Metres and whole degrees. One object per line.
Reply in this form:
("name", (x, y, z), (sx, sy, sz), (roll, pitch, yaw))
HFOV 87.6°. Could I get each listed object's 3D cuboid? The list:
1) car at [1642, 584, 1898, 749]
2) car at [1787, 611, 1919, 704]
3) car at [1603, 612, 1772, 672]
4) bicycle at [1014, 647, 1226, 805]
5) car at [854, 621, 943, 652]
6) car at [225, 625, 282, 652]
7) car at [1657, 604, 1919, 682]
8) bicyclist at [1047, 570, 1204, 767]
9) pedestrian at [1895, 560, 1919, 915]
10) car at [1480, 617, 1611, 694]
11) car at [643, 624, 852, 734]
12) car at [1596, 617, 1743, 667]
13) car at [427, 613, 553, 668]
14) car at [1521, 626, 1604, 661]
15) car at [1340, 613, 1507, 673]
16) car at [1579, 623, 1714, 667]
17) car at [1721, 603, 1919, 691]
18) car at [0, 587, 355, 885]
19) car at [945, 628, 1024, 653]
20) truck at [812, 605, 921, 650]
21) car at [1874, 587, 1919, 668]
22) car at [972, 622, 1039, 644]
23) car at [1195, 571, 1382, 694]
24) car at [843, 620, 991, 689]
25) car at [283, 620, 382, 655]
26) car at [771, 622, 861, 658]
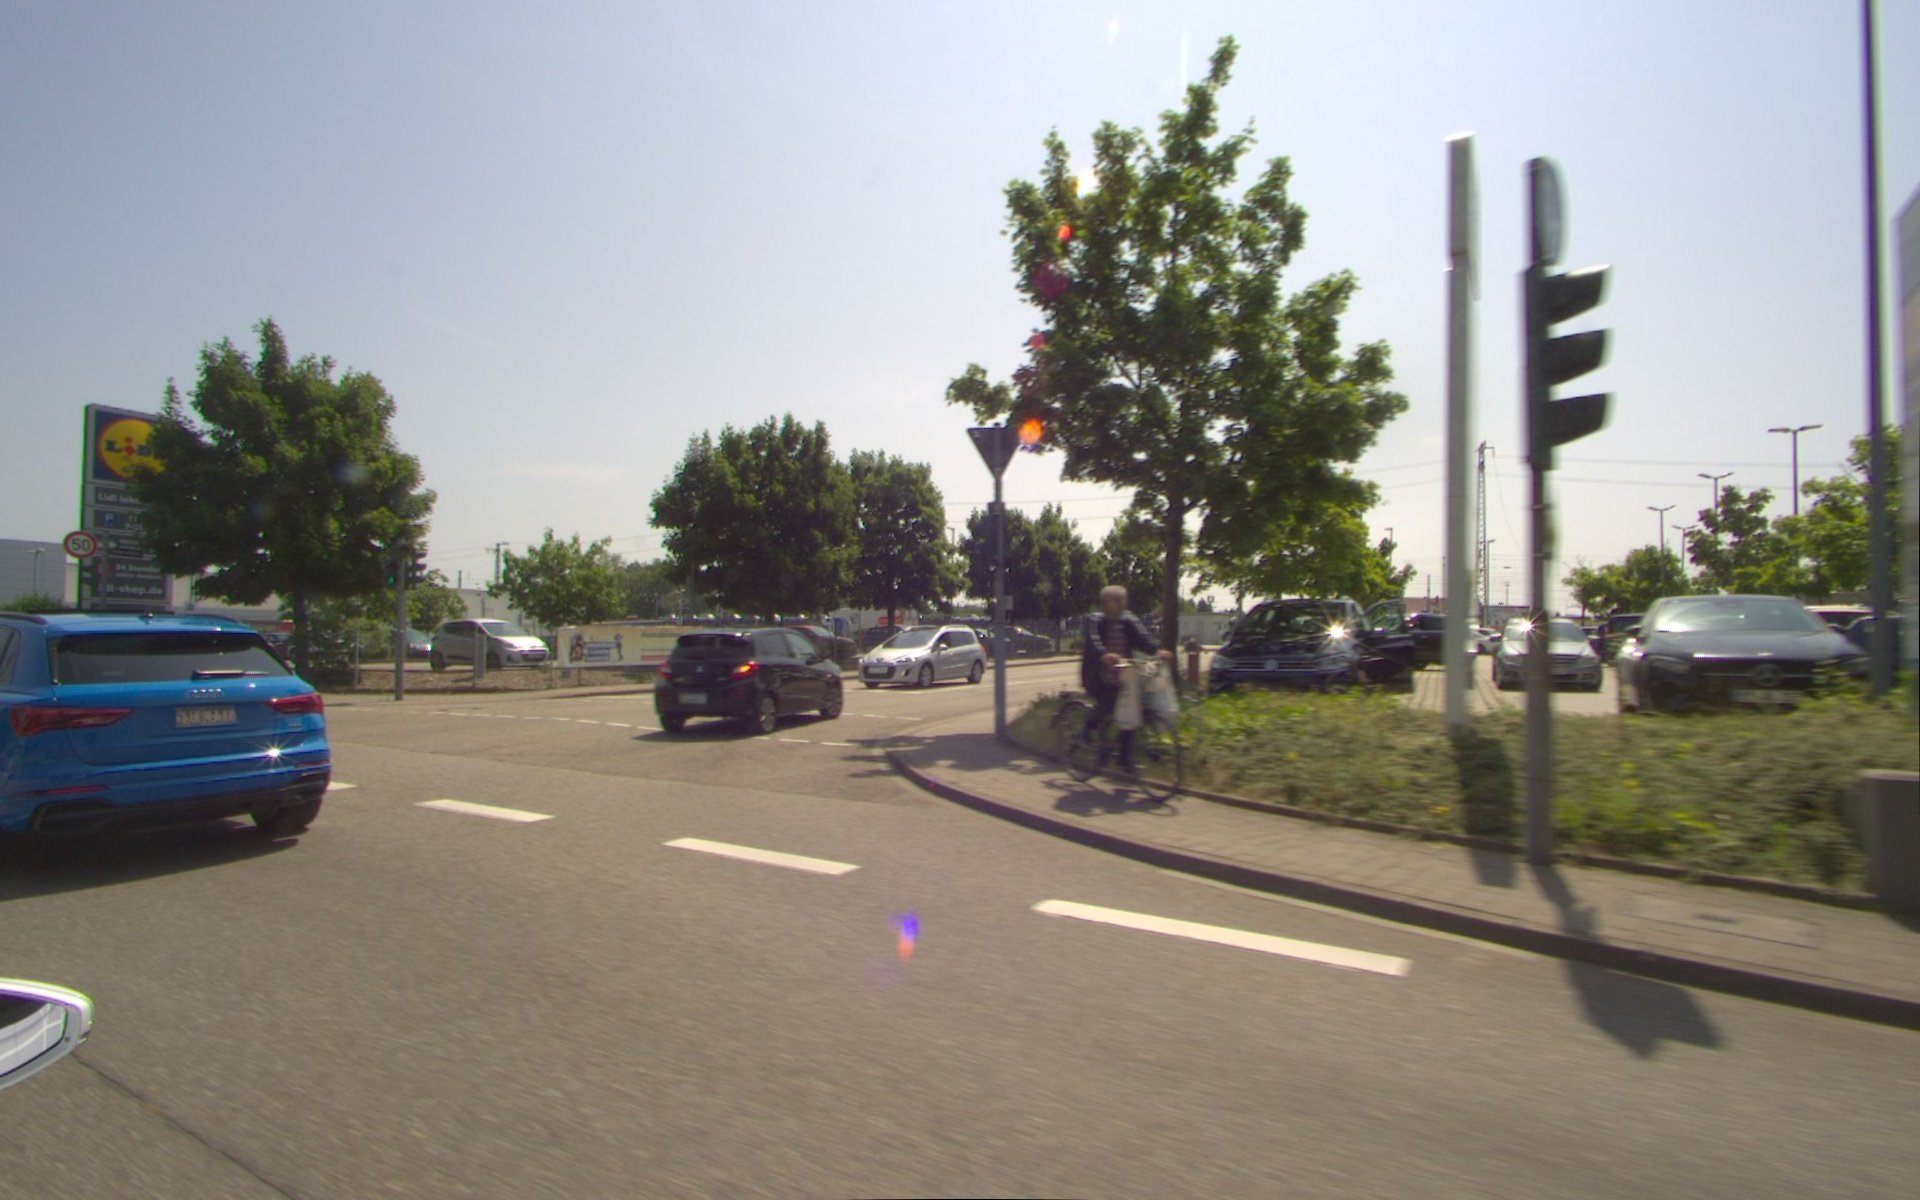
("car", (8.171, 0.600, 10.321), (1.734, 1.356, 3.859), (-1, -2, 37))
("car", (16.455, 0.948, 16.688), (1.981, 1.505, 3.961), (1, -2, -44))
("car", (23.623, 1.334, 32.654), (1.653, 1.811, 4.162), (4, -3, -36))
("bicycle", (1.258, 0.978, 8.283), (0.749, 1.146, 1.900), (3, -4, -27))
("car", (-3.057, 1.794, 49.471), (4.262, 1.468, 1.701), (-1, -1, 32))
("car", (-38.454, 2.096, 54.483), (2.910, 1.438, 1.265), (-1, -1, 26))
("car", (20.220, 1.095, 24.625), (1.979, 1.732, 4.709), (4, -5, -40))
("bicyclist", (1.332, 0.559, 8.196), (0.765, 1.482, 1.086), (2, -3, -28))
("pedestrian", (4.767, 0.618, 4.220), (0.991, 1.645, 0.827), (-2, -4, 32))
("car", (11.987, 1.086, 20.737), (1.785, 1.416, 3.991), (-1, -1, 22))
("car", (-3.017, 1.089, 14.922), (1.591, 1.419, 3.428), (0, -2, 17))
("car", (25.009, 1.446, 35.386), (1.703, 1.661, 3.967), (1, -1, -40))
("car", (-13.429, 1.120, 28.590), (3.477, 1.458, 1.419), (0, 0, 26))
("car", (27.024, 1.936, 44.931), (1.349, 1.505, 2.975), (1, -1, -45))
("car", (13.634, 1.248, 29.519), (4.270, 1.661, 1.997), (1, -1, -17))
("car", (26.319, 1.681, 38.491), (1.748, 1.616, 3.967), (1, -2, -40))
("car", (17.686, 0.905, 19.569), (1.651, 1.620, 4.167), (1, -2, -34))
("car", (-6.473, 0.780, 7.373), (4.288, 1.613, 1.805), (-1, -1, 33))
("car", (1.357, 2.219, 55.231), (4.093, 1.306, 1.648), (-1, -1, 27))
("truck", (-8.442, 2.428, 89.708), (9.880, 3.887, 2.848), (-1, -1, 29))
("car", (27.772, 0.794, 27.653), (1.651, 2.220, 3.411), (3, -2, -32))
("car", (2.720, 1.989, 60.183), (3.695, 1.307, 1.648), (-1, -1, 27))
("car", (4.456, 0.434, 13.192), (1.833, 1.356, 3.988), (-1, -2, 26))
("car", (-1.017, 1.339, 25.827), (1.781, 1.639, 4.241), (-1, -2, 31))
("car", (-26.360, 1.575, 42.052), (4.016, 1.412, 1.735), (-2, -2, 27))
("car", (-6.083, 1.657, 42.240), (3.369, 1.467, 1.702), (0, -1, 22))
